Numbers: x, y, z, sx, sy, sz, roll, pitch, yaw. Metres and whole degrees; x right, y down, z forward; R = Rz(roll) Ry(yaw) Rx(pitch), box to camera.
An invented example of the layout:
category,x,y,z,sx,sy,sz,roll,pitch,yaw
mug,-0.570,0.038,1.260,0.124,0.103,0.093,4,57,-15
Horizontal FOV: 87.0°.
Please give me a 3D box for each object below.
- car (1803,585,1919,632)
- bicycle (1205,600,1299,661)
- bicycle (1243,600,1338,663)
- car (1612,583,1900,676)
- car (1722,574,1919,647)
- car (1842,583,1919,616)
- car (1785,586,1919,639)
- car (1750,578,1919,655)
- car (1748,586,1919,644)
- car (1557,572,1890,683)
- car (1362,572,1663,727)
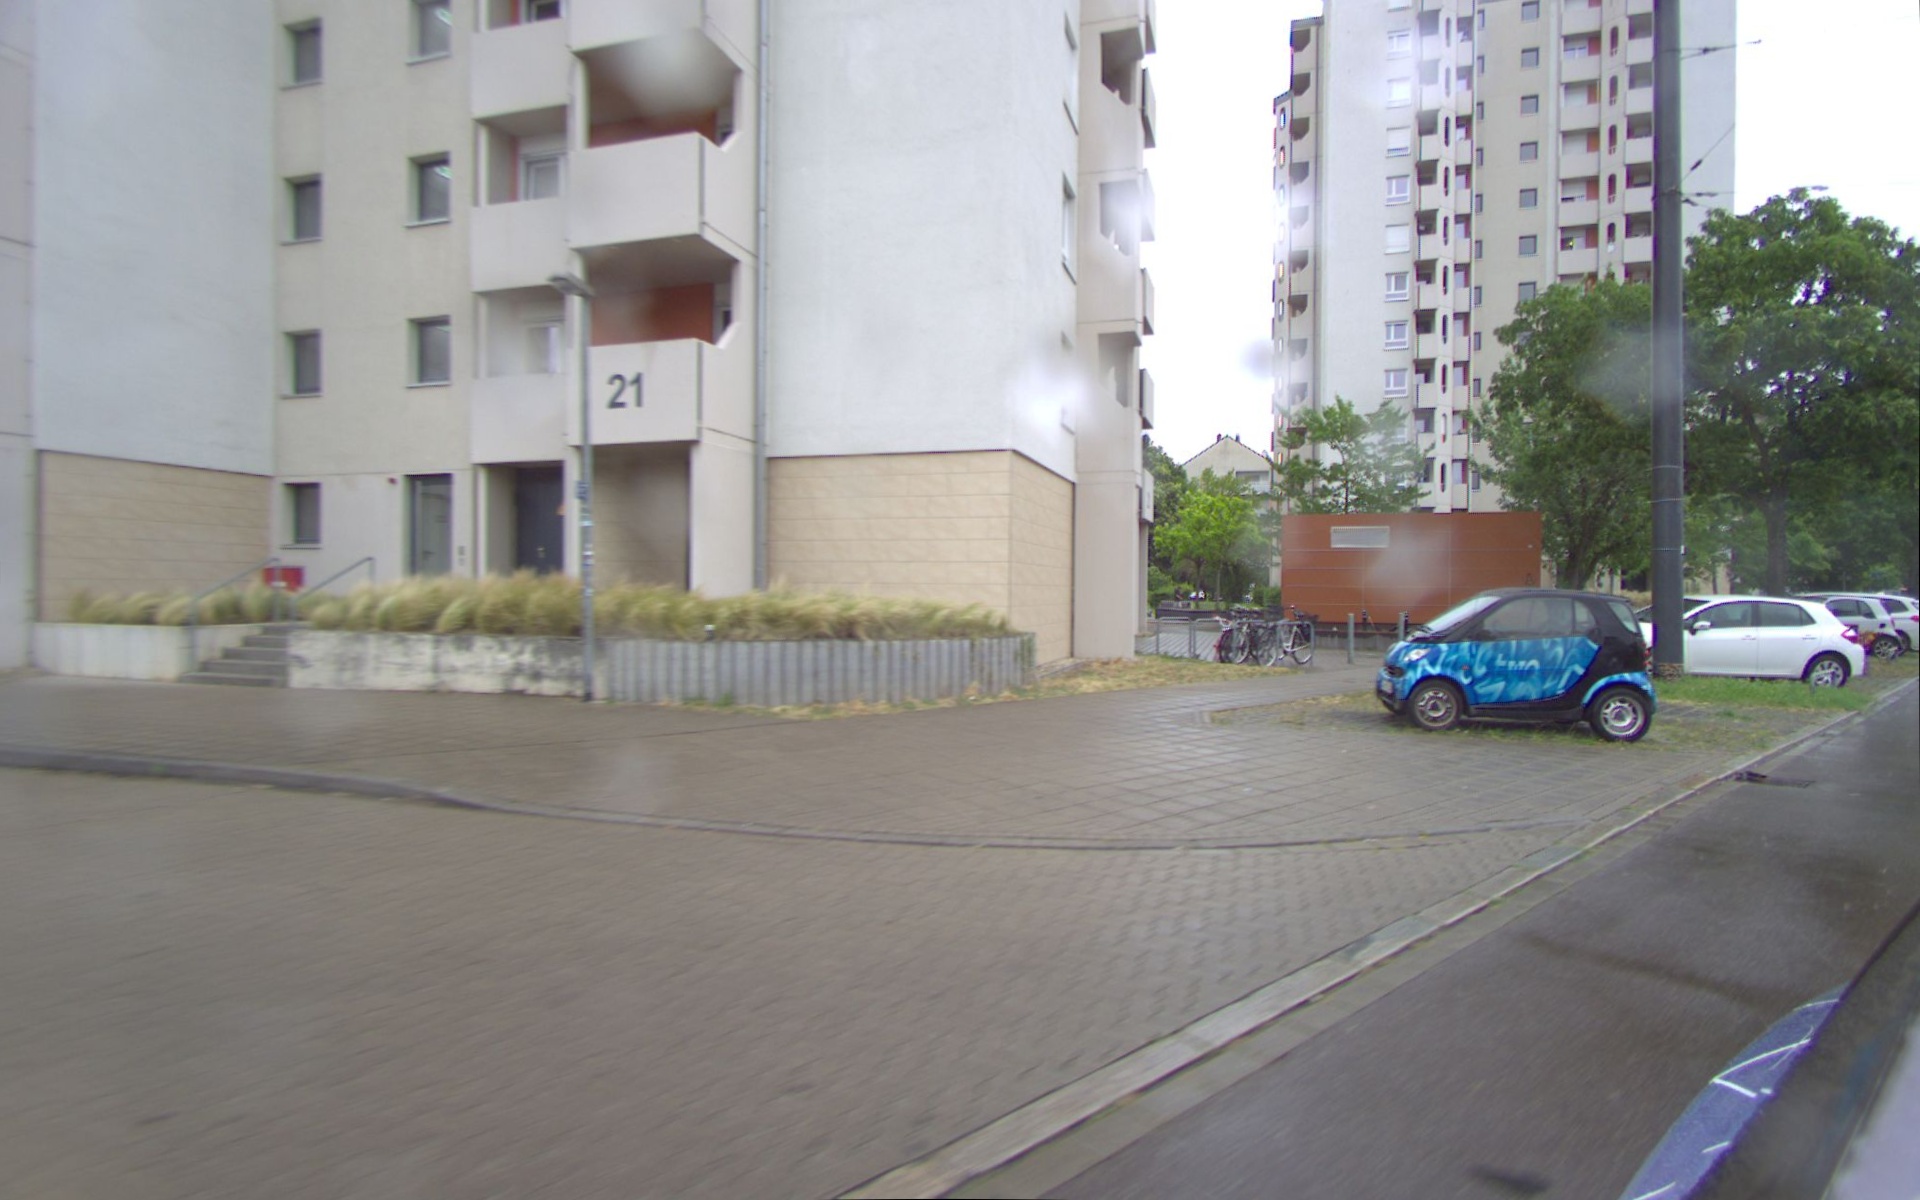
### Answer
category,x,y,z,sx,sy,sz,roll,pitch,yaw
car,32.684,0.326,35.466,4.396,1.483,1.812,3,2,15
bicycle,5.358,0.532,18.532,2.023,1.018,0.662,-1,0,-41
bicycle,5.875,0.530,17.935,2.023,1.018,0.662,-1,0,-41
car,15.040,0.505,19.346,3.884,1.449,1.679,3,2,12
car,23.462,0.267,27.125,4.389,1.692,1.808,3,2,10
car,46.387,0.000,49.836,3.986,1.507,1.718,3,1,13
car,28.603,0.410,31.304,4.398,1.446,1.677,3,2,15
car,22.396,0.403,24.988,4.122,1.692,1.679,3,2,12
car,25.865,0.431,29.275,4.396,1.427,1.761,3,2,15
car,12.911,0.407,17.390,4.117,1.567,1.761,3,2,9
car,6.013,0.483,11.294,2.523,1.567,1.599,0,1,9
